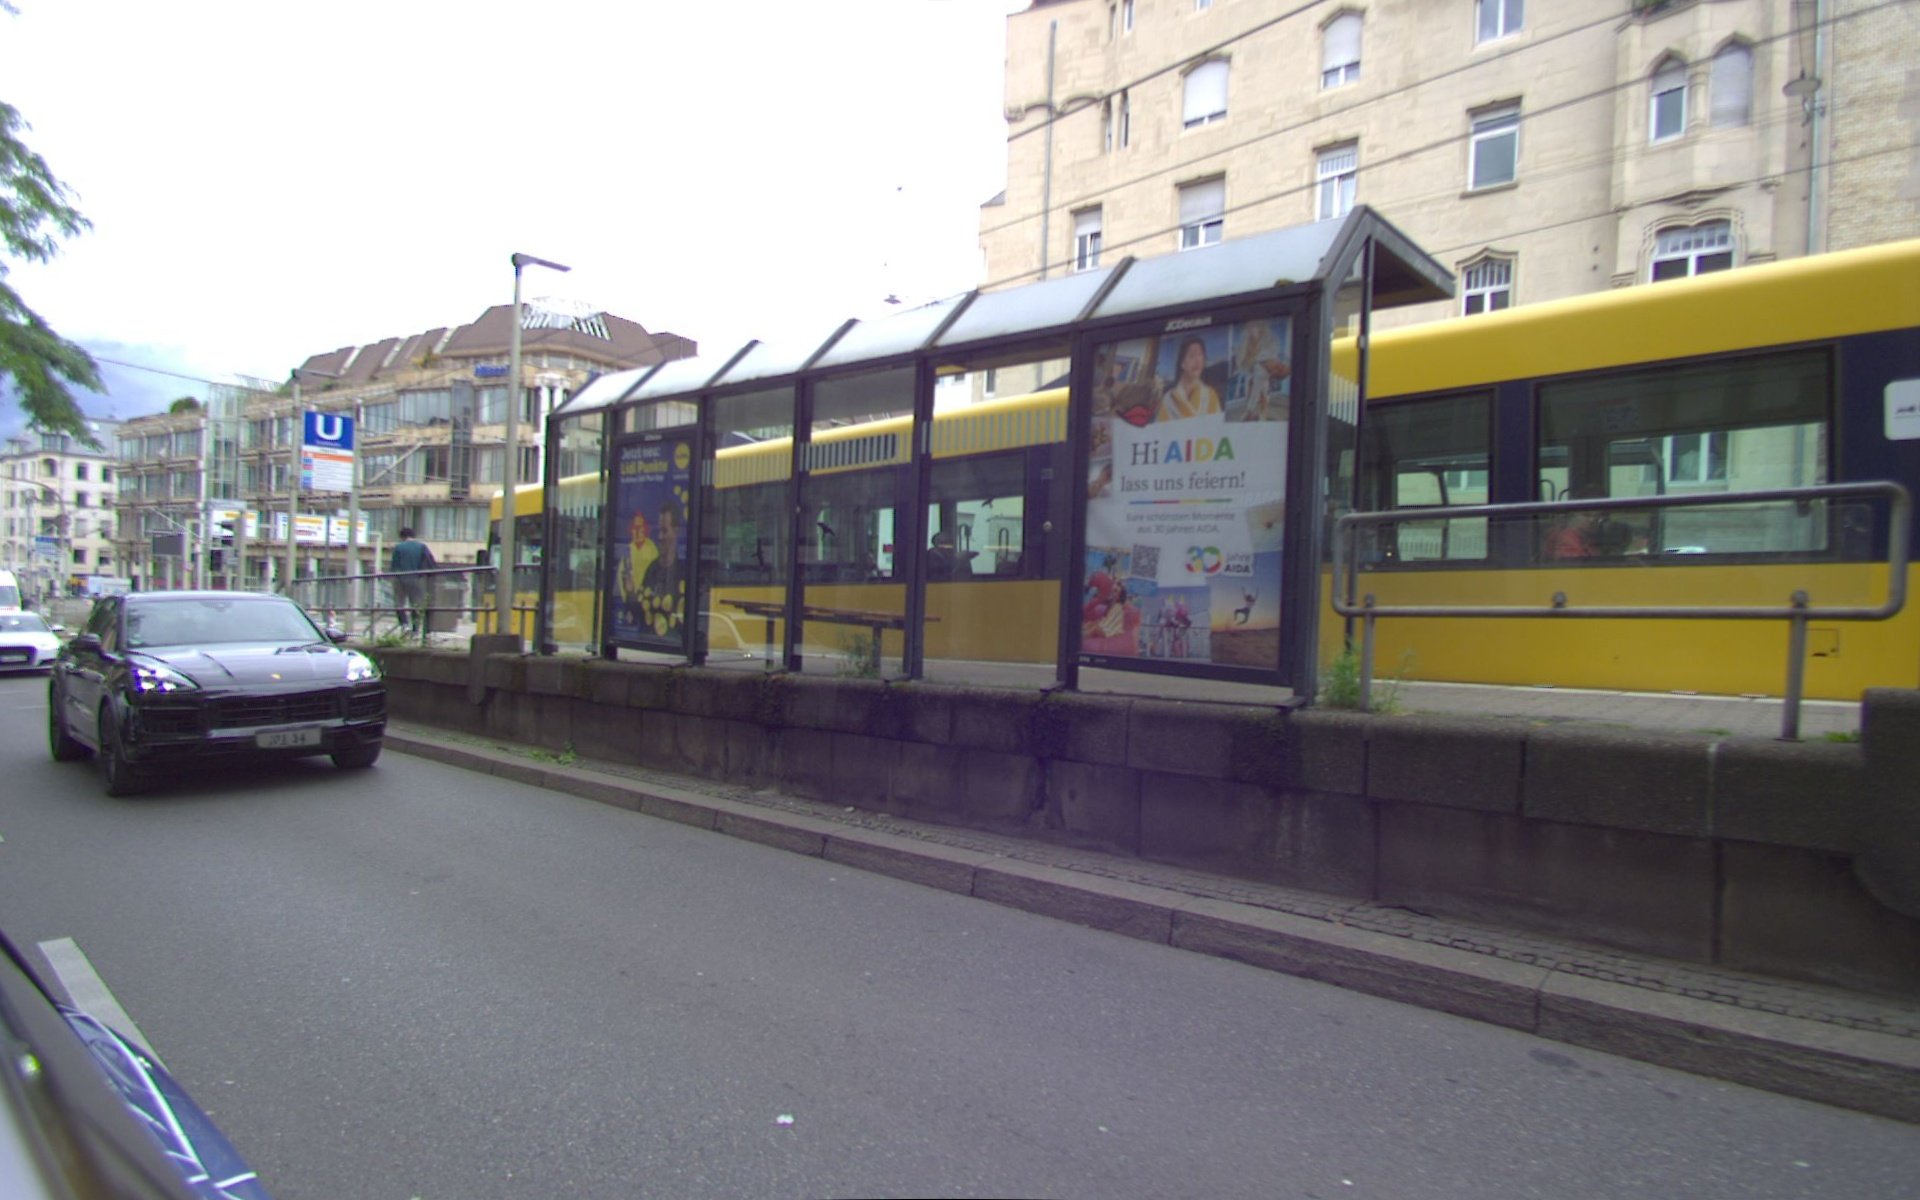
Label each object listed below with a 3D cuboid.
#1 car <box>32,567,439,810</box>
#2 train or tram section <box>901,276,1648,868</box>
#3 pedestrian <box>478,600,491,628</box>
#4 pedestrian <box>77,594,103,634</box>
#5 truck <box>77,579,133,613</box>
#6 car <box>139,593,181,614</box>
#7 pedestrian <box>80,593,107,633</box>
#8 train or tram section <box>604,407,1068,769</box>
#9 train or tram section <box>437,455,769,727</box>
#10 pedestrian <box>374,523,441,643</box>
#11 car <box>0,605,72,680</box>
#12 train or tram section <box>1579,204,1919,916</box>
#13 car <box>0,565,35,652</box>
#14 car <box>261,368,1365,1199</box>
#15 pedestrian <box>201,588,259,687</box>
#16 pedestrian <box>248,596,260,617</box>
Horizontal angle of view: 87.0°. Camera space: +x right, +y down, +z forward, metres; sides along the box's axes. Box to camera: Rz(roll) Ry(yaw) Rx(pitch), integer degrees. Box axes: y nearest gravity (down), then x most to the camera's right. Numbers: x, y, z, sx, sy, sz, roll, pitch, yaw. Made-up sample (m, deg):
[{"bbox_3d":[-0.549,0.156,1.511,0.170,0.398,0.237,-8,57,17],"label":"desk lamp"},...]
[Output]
[{"bbox_3d":[-7.080,0.642,9.601,5.351,1.688,2.060,-1,-1,42],"label":"car"},{"bbox_3d":[2.483,-0.165,9.044,5.750,3.547,2.805,0,0,42],"label":"train or tram section"},{"bbox_3d":[-30.139,0.897,64.145,0.577,1.793,0.504,0,-1,44],"label":"pedestrian"},{"bbox_3d":[-38.421,0.625,44.696,0.637,1.734,0.756,0,-1,41],"label":"pedestrian"},{"bbox_3d":[-83.689,-0.454,99.036,7.358,3.099,2.247,1,-2,35],"label":"truck"},{"bbox_3d":[-71.422,0.281,90.306,4.771,1.772,1.659,1,1,35],"label":"car"},{"bbox_3d":[-37.873,0.573,44.230,0.772,1.734,0.783,0,-1,41],"label":"pedestrian"},{"bbox_3d":[-1.782,-0.112,12.906,5.750,3.547,2.805,0,0,42],"label":"train or tram section"},{"bbox_3d":[-6.060,-0.114,16.772,5.750,3.706,2.805,0,0,42],"label":"train or tram section"},{"bbox_3d":[-8.344,-0.255,15.277,0.671,1.743,0.710,1,1,43],"label":"pedestrian"},{"bbox_3d":[-22.136,0.931,23.278,3.995,1.542,1.926,1,1,39],"label":"car"},{"bbox_3d":[6.753,-0.210,5.145,5.750,3.547,2.805,0,0,42],"label":"train or tram section"},{"bbox_3d":[-33.086,0.235,34.041,5.937,2.780,2.252,1,1,41],"label":"car"},{"bbox_3d":[-1.177,0.516,4.641,5.149,2.029,2.339,1,1,43],"label":"car"},{"bbox_3d":[-13.105,0.662,18.171,0.711,1.724,0.678,-1,-1,41],"label":"pedestrian"},{"bbox_3d":[-61.864,0.580,88.691,0.738,1.825,0.724,1,1,36],"label":"pedestrian"}]
